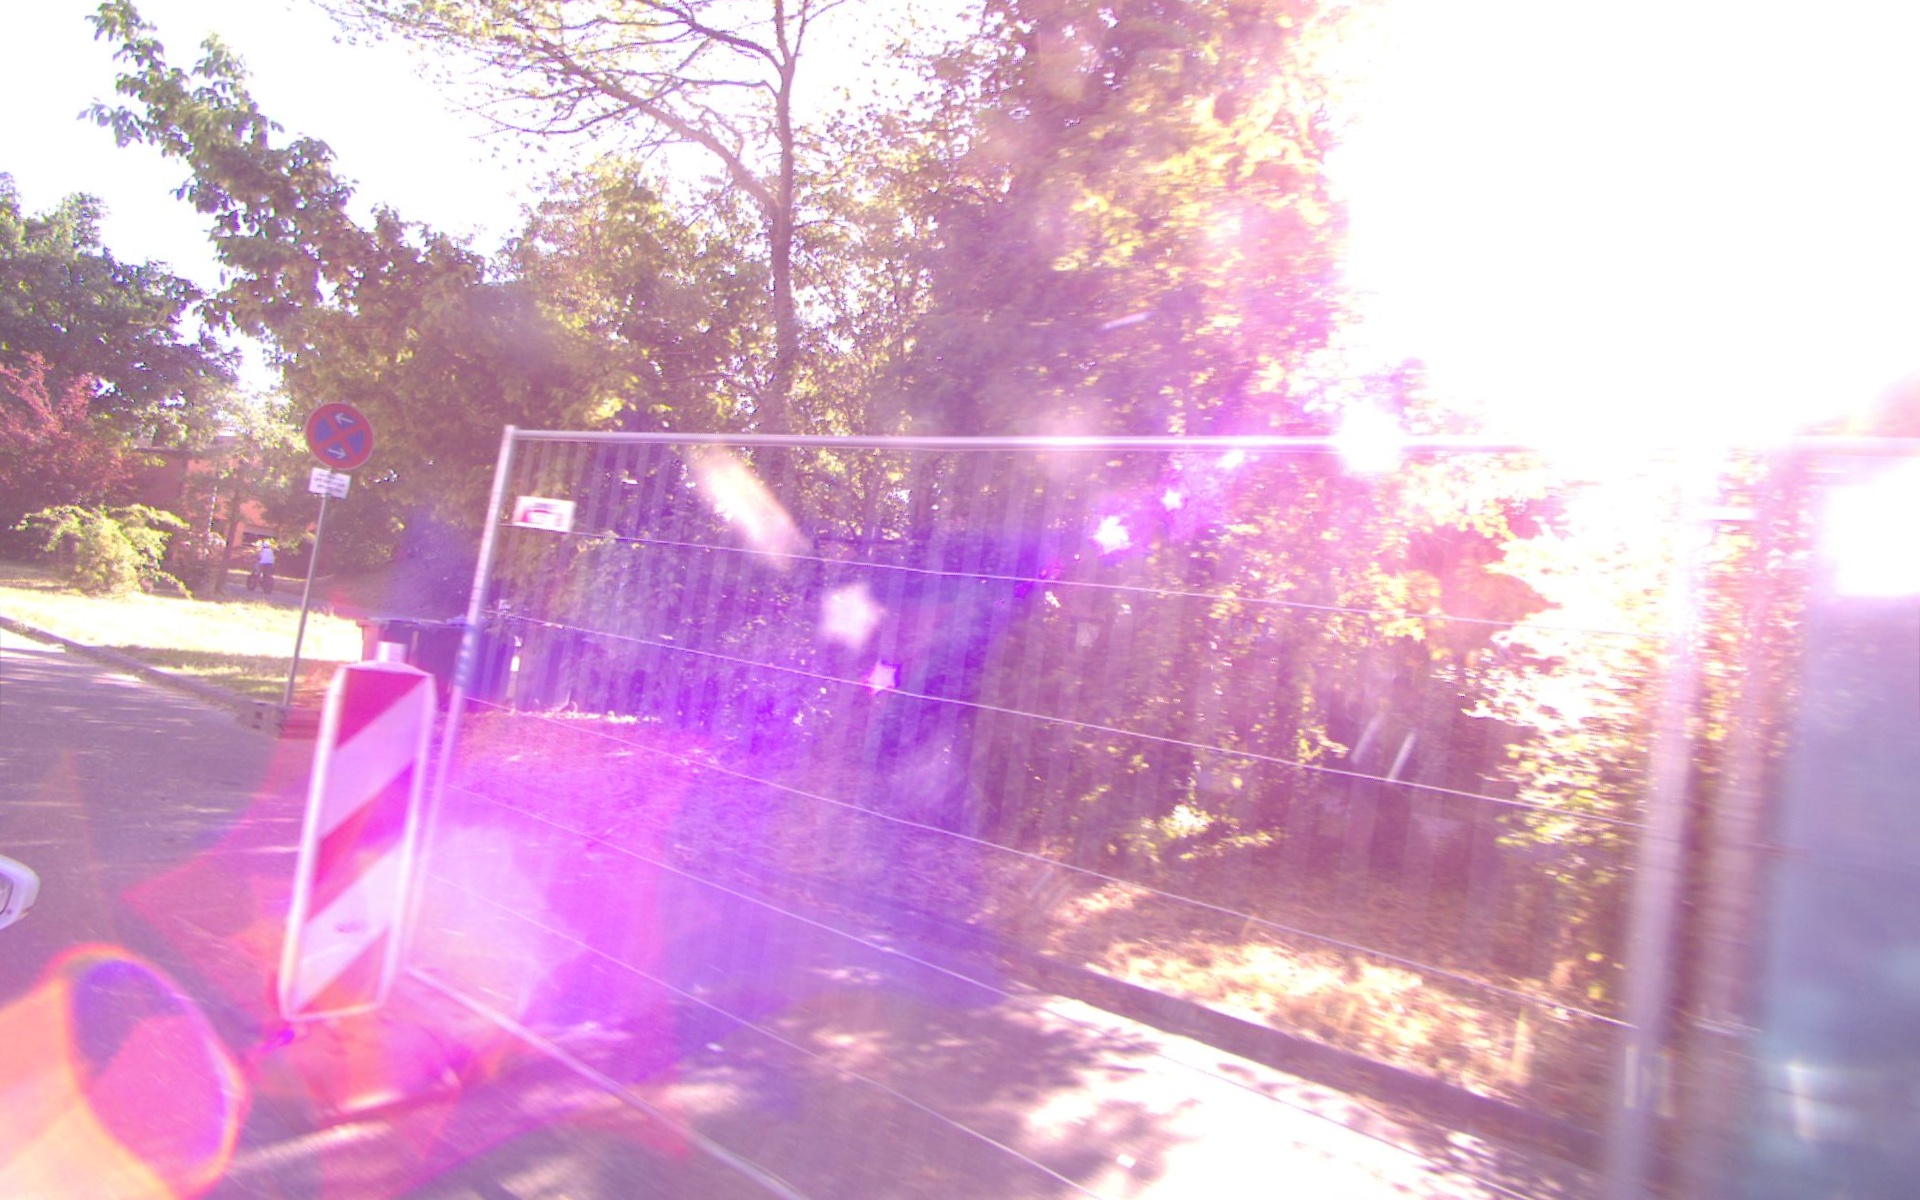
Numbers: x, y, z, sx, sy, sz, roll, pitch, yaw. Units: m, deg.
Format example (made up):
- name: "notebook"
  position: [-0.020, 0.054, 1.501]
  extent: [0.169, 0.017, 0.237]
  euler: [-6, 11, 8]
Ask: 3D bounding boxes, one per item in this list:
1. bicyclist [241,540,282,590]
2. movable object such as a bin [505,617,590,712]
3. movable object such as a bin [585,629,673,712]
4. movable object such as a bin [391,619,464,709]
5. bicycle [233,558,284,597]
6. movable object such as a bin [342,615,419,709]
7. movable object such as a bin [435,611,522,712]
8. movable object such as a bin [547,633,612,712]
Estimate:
- name: "bicyclist"
  position: [-23.272, -1.177, 33.516]
  extent: [0.826, 1.516, 0.633]
  euler: [7, -3, 32]
- name: "movable object such as a bin"
  position: [-4.780, 0.752, 11.667]
  extent: [0.598, 1.011, 0.563]
  euler: [6, -1, 33]
- name: "movable object such as a bin"
  position: [-4.205, 0.902, 12.786]
  extent: [0.683, 0.939, 0.695]
  euler: [6, -1, 33]
- name: "movable object such as a bin"
  position: [-5.586, 0.675, 10.558]
  extent: [0.476, 0.880, 0.413]
  euler: [6, -1, 33]
- name: "bicycle"
  position: [-23.363, -0.761, 33.513]
  extent: [1.755, 1.051, 0.633]
  euler: [7, -3, 32]
- name: "movable object such as a bin"
  position: [-5.846, 0.628, 10.154]
  extent: [0.476, 0.880, 0.413]
  euler: [6, -1, 33]
- name: "movable object such as a bin"
  position: [-5.238, 0.668, 10.954]
  extent: [0.598, 1.011, 0.519]
  euler: [6, -1, 33]
- name: "movable object such as a bin"
  position: [-4.637, 0.883, 12.258]
  extent: [0.516, 0.880, 0.419]
  euler: [6, -1, 33]
